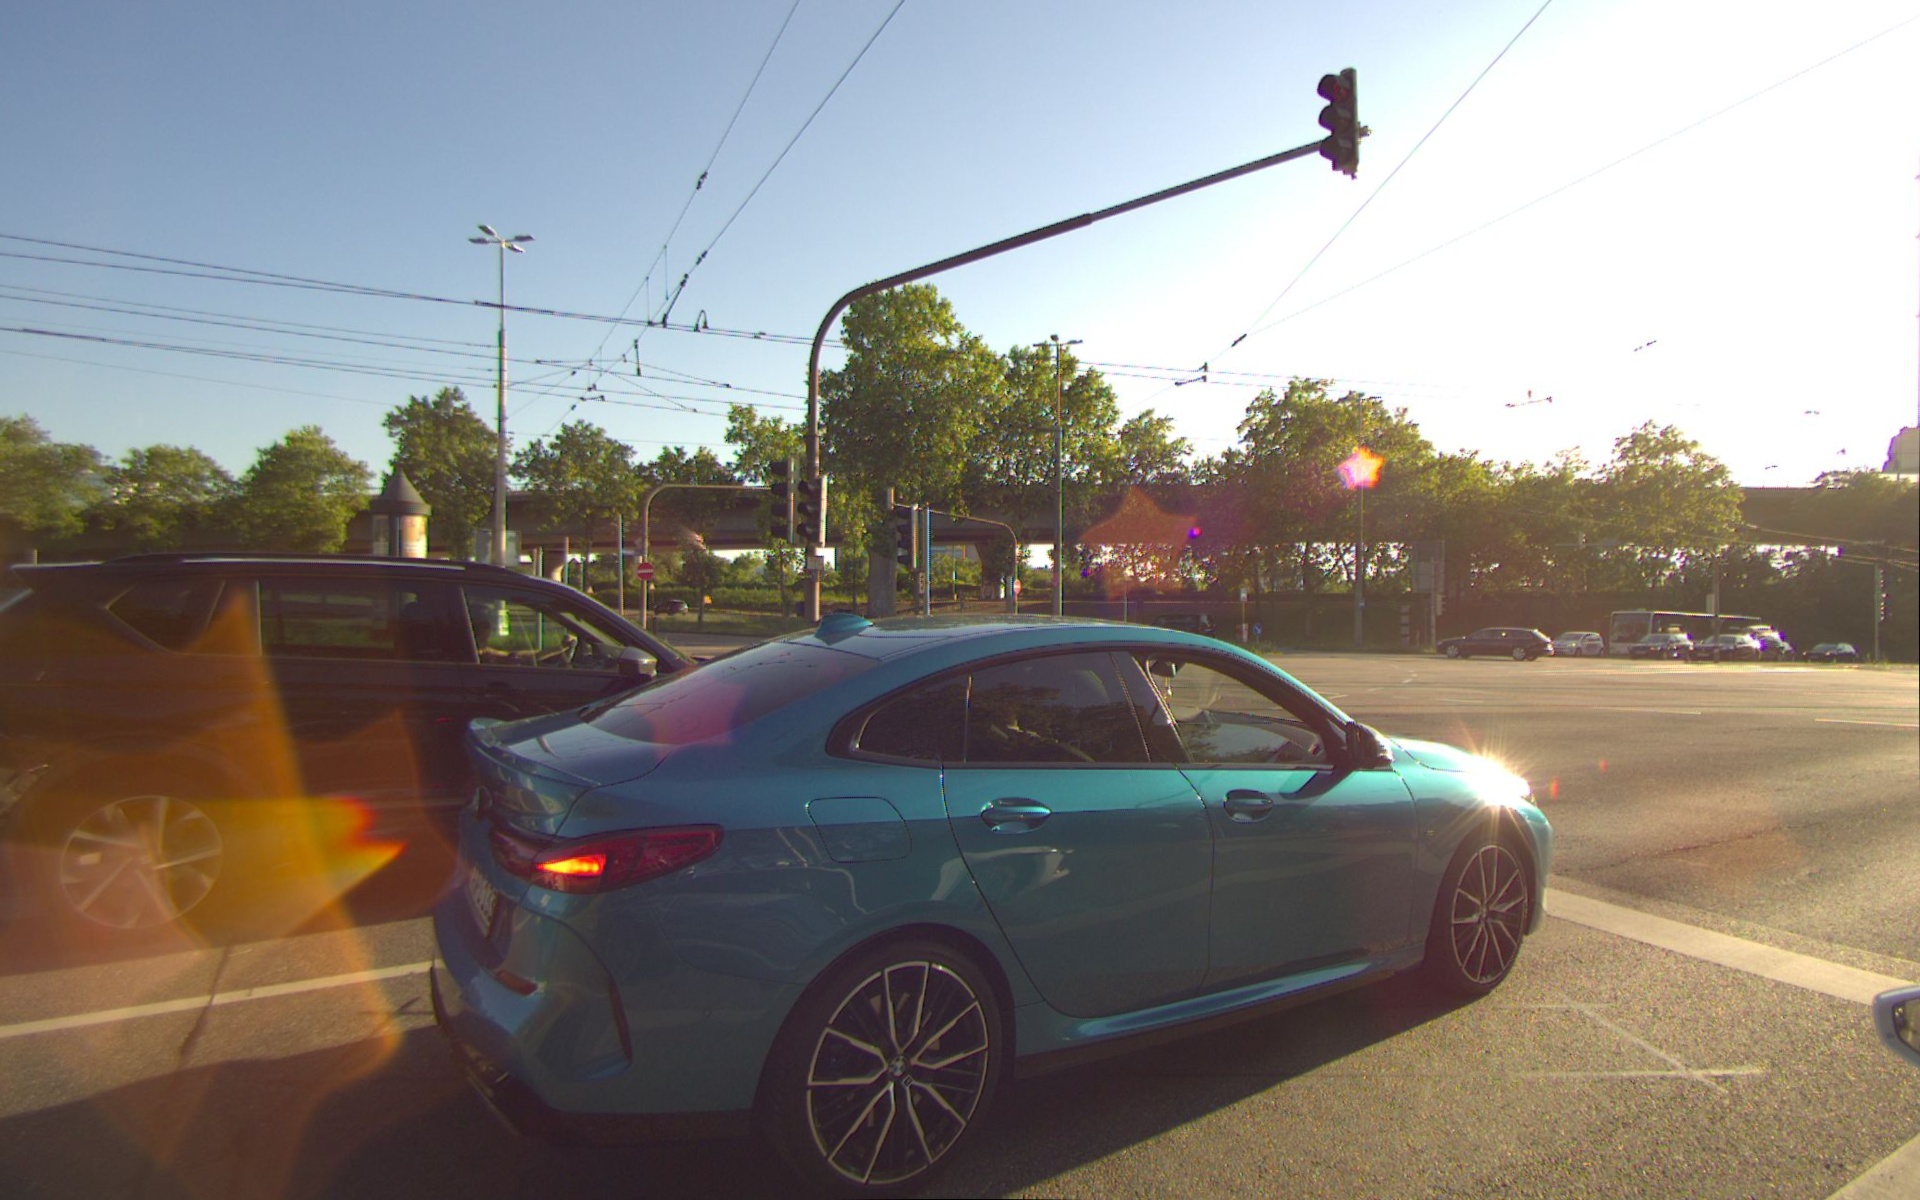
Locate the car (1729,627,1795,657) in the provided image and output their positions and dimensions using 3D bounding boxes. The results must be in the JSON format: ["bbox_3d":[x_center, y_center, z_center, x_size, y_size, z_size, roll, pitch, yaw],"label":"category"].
[{"bbox_3d":[48.012,2.503,60.101,4.046,1.674,1.703,2,-1,-30],"label":"car"}]

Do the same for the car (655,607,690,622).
[{"bbox_3d":[-31.216,1.563,108.956,1.984,1.473,4.482,2,-1,-40],"label":"car"}]

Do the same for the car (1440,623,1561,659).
[{"bbox_3d":[24.548,1.819,45.717,4.472,1.473,1.988,0,-1,44],"label":"car"}]

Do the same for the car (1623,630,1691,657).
[{"bbox_3d":[37.928,2.353,54.634,3.956,1.372,1.595,2,-1,-32],"label":"car"}]

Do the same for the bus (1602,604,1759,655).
[{"bbox_3d":[45.467,1.887,63.176,12.693,2.993,2.811,2,-1,-28],"label":"bus"}]

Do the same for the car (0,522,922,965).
[{"bbox_3d":[-2.658,0.598,5.634,4.550,1.704,1.905,2,-1,-32],"label":"car"}]

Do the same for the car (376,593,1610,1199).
[{"bbox_3d":[0.421,0.760,3.798,4.465,1.436,1.774,2,-1,-33],"label":"car"}]

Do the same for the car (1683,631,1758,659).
[{"bbox_3d":[39.666,2.335,52.386,4.046,1.372,1.703,2,-1,-30],"label":"car"}]

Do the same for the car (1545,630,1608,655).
[{"bbox_3d":[35.182,2.429,57.314,3.693,1.372,1.595,2,-1,-32],"label":"car"}]

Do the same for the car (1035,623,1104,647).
[{"bbox_3d":[7.142,2.283,66.081,1.982,1.473,4.485,2,-1,-38],"label":"car"}]

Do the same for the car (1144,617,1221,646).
[{"bbox_3d":[13.999,1.963,63.387,1.983,1.644,4.483,2,-1,-39],"label":"car"}]

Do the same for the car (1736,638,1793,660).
[{"bbox_3d":[54.698,3.324,68.318,3.952,1.461,1.692,2,-1,-30],"label":"car"}]

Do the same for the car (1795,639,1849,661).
[{"bbox_3d":[60.893,3.489,70.937,3.952,1.461,1.692,2,-1,-30],"label":"car"}]

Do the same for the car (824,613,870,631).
[{"bbox_3d":[-9.888,1.917,87.517,1.982,1.473,4.485,2,-1,-38],"label":"car"}]
